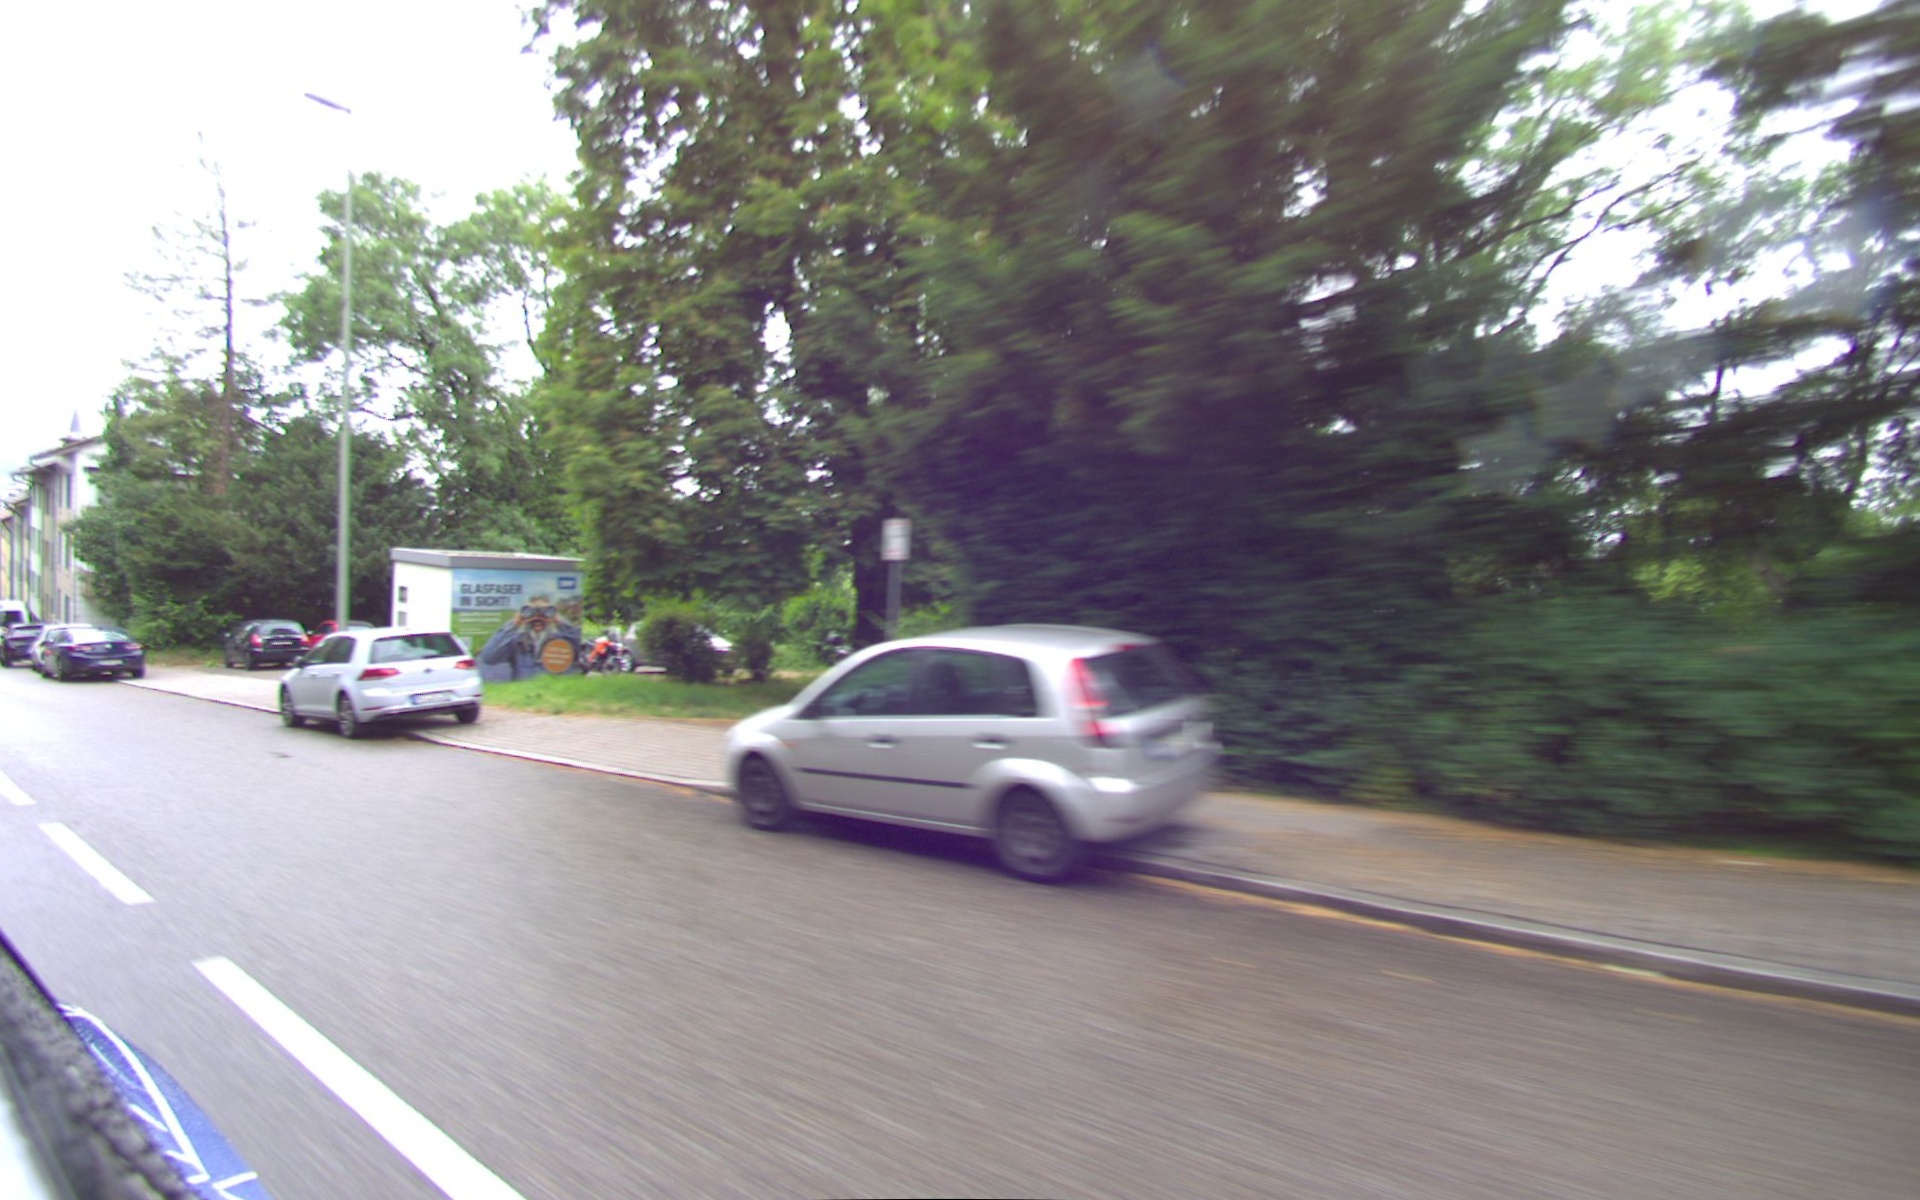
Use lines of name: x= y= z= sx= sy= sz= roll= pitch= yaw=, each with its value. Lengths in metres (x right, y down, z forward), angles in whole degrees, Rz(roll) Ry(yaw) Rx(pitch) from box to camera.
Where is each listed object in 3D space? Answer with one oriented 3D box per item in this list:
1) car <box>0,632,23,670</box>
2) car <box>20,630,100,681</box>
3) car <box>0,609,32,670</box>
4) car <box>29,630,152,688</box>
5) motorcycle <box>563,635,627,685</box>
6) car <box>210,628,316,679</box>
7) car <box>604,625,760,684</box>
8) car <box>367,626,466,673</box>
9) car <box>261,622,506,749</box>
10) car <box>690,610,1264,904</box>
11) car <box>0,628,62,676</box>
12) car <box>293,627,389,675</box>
car: x=-46.258 y=2.390 z=48.129 sx=4.883 sy=1.753 sz=1.945 roll=-2 pitch=-4 yaw=42
car: x=-29.355 y=1.769 z=32.983 sx=4.149 sy=1.581 sz=1.637 roll=-2 pitch=-3 yaw=44
car: x=-42.458 y=1.726 z=44.406 sx=5.444 sy=2.570 sz=2.093 roll=-2 pitch=-4 yaw=43
car: x=-24.485 y=1.644 z=28.444 sx=4.752 sy=1.505 sz=1.840 roll=-2 pitch=-5 yaw=41
motorcycle: x=-9.268 y=1.502 z=25.669 sx=2.278 sy=1.198 sz=0.593 roll=-2 pitch=-2 yaw=44
car: x=-21.652 y=1.606 z=31.372 sx=4.395 sy=1.470 sz=1.704 roll=-2 pitch=-2 yaw=42
car: x=-7.661 y=1.441 z=27.739 sx=4.390 sy=1.470 sz=1.926 roll=-2 pitch=-2 yaw=38
car: x=-18.363 y=1.630 z=34.143 sx=4.240 sy=1.470 sz=1.578 roll=-2 pitch=-2 yaw=42
car: x=-8.691 y=1.187 z=15.121 sx=4.237 sy=1.624 sz=1.866 roll=-2 pitch=-4 yaw=41
car: x=-0.045 y=0.895 z=7.269 sx=3.923 sy=1.510 sz=1.610 roll=-2 pitch=1 yaw=39
car: x=-33.934 y=1.869 z=36.729 sx=4.187 sy=1.616 sz=1.626 roll=-2 pitch=-4 yaw=44
car: x=-20.024 y=1.612 z=32.686 sx=3.773 sy=1.470 sz=1.604 roll=-2 pitch=-2 yaw=42
